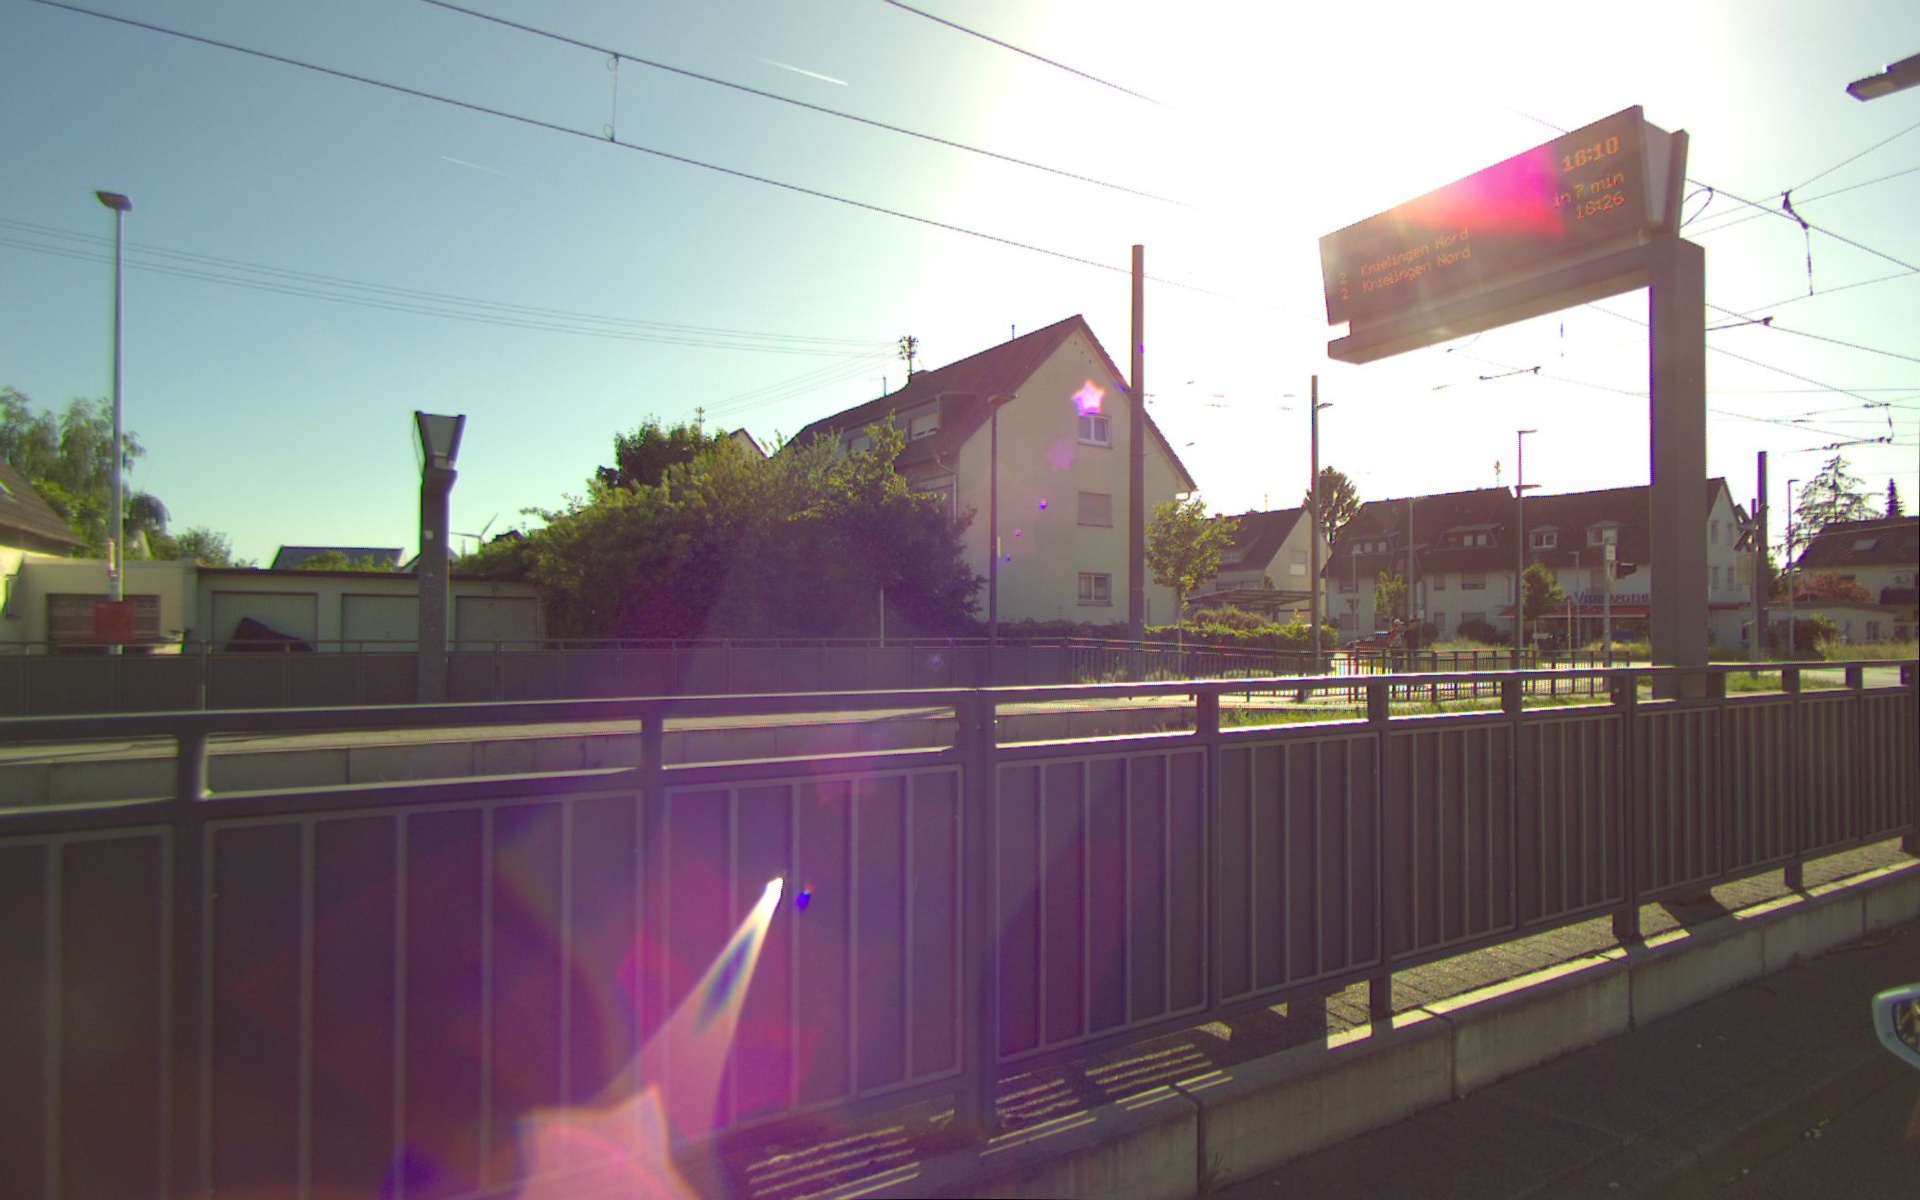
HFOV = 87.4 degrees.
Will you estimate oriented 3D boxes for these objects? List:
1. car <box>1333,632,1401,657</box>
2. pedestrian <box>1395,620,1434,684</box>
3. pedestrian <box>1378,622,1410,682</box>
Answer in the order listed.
[{"bbox_3d":[25.323,2.745,62.565,1.805,1.492,3.482,1,-2,-38],"label":"car"},{"bbox_3d":[13.069,1.484,28.909,0.763,1.785,0.724,1,-1,-32],"label":"pedestrian"},{"bbox_3d":[13.094,1.559,30.314,0.682,1.755,0.589,1,-1,-32],"label":"pedestrian"}]
